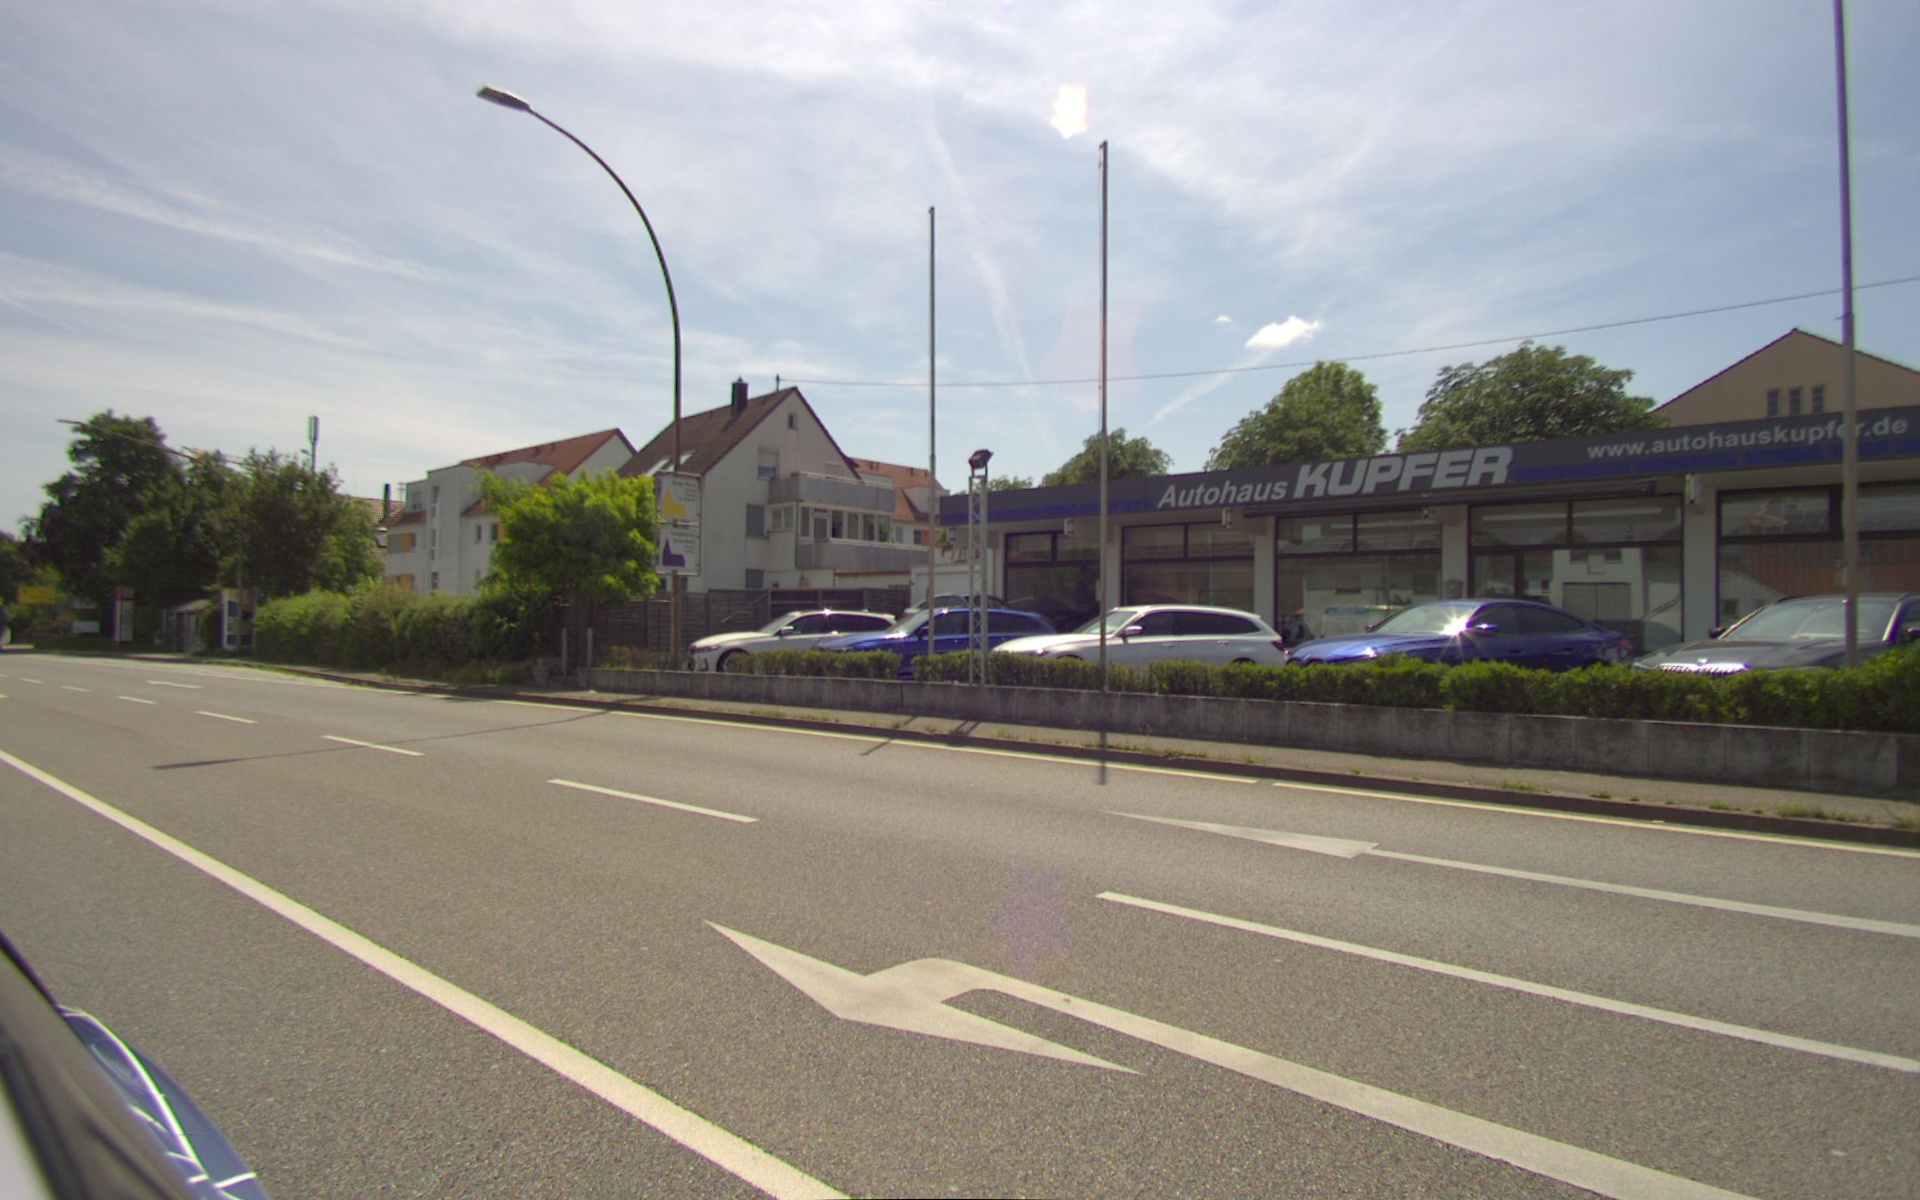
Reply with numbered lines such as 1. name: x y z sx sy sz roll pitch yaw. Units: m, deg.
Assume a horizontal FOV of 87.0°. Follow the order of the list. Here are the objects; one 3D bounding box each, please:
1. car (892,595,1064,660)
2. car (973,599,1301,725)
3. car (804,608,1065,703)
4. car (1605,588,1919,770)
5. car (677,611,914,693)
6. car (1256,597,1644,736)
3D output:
1. car: 0.363 0.678 25.768 1.781 1.475 4.589 -1 -1 -40
2. car: 2.633 0.824 15.167 4.438 1.458 1.863 -3 1 -20
3. car: -0.466 0.917 18.105 4.267 1.458 1.863 -1 0 -21
4. car: 8.654 0.620 9.927 4.267 1.458 1.905 -1 0 -25
5. car: -3.395 1.010 20.838 4.501 1.458 1.863 -1 0 -21
6. car: 6.049 0.718 12.548 4.267 1.458 1.863 -1 0 -20
